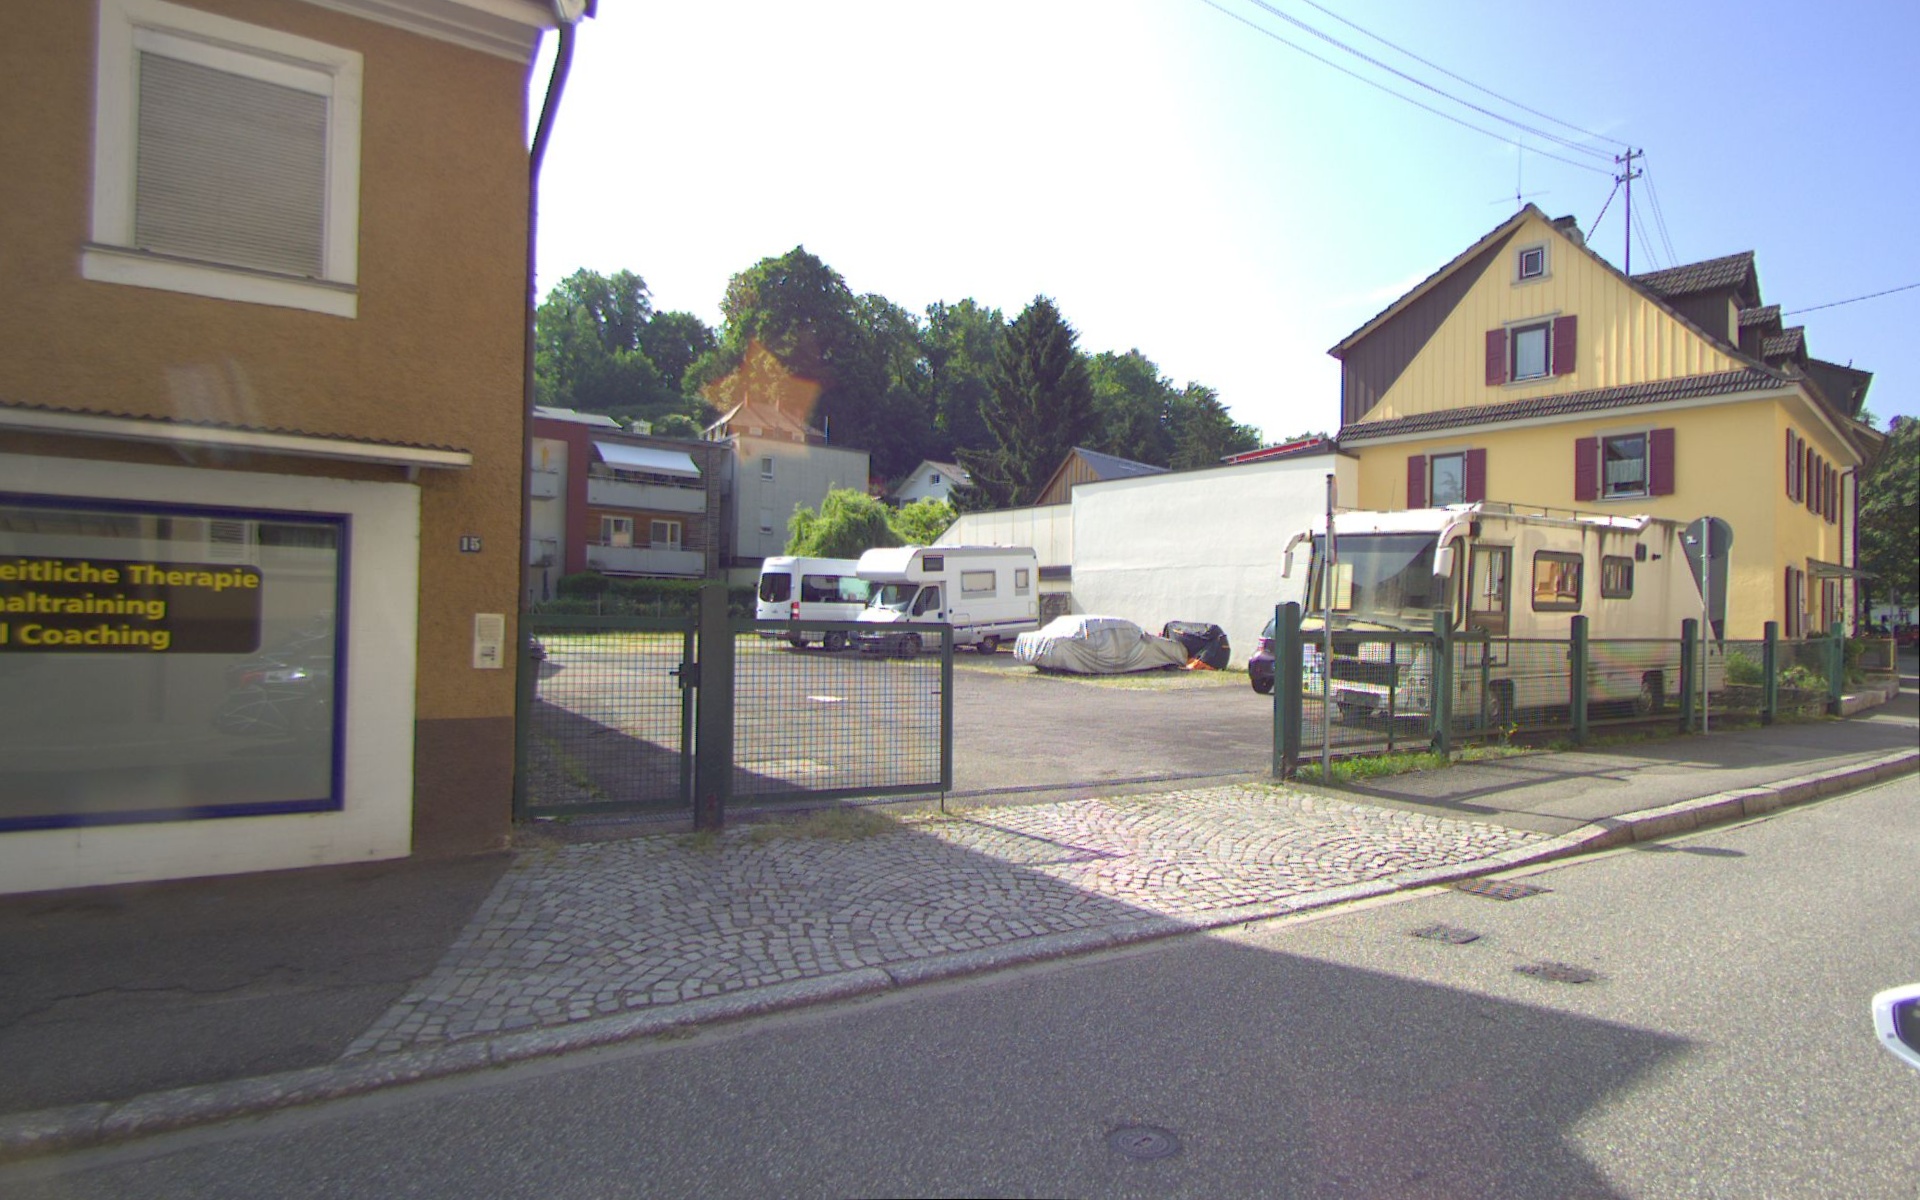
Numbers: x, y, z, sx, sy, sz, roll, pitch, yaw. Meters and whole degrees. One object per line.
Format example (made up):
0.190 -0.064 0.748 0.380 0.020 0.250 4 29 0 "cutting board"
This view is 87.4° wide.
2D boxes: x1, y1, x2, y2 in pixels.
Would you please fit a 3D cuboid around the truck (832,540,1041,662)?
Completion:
-0.552 0.017 28.226 5.698 3.100 2.384 0 1 -43 "truck"

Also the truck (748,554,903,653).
-3.869 0.113 29.235 4.050 2.687 1.934 1 0 -42 "truck"

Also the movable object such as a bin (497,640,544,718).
-5.519 0.980 12.620 0.480 0.934 0.475 1 0 -30 "movable object such as a bin"

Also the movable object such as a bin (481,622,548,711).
-5.828 0.858 13.130 0.736 1.108 0.541 1 0 -31 "movable object such as a bin"

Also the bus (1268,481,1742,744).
9.060 0.227 16.141 8.940 3.271 2.803 1 0 -34 "bus"

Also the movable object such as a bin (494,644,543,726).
-5.305 1.011 12.066 0.480 0.934 0.475 1 0 -30 "movable object such as a bin"

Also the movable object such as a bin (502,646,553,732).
-4.974 1.014 11.543 0.480 0.934 0.475 1 0 -30 "movable object such as a bin"

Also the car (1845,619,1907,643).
61.993 2.080 68.068 1.680 1.563 4.000 -1 0 20 "car"

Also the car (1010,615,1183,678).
3.221 1.028 23.446 3.958 1.286 1.584 0 1 -34 "car"

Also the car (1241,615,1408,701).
7.208 1.080 19.639 1.745 1.451 3.980 2 0 41 "car"
